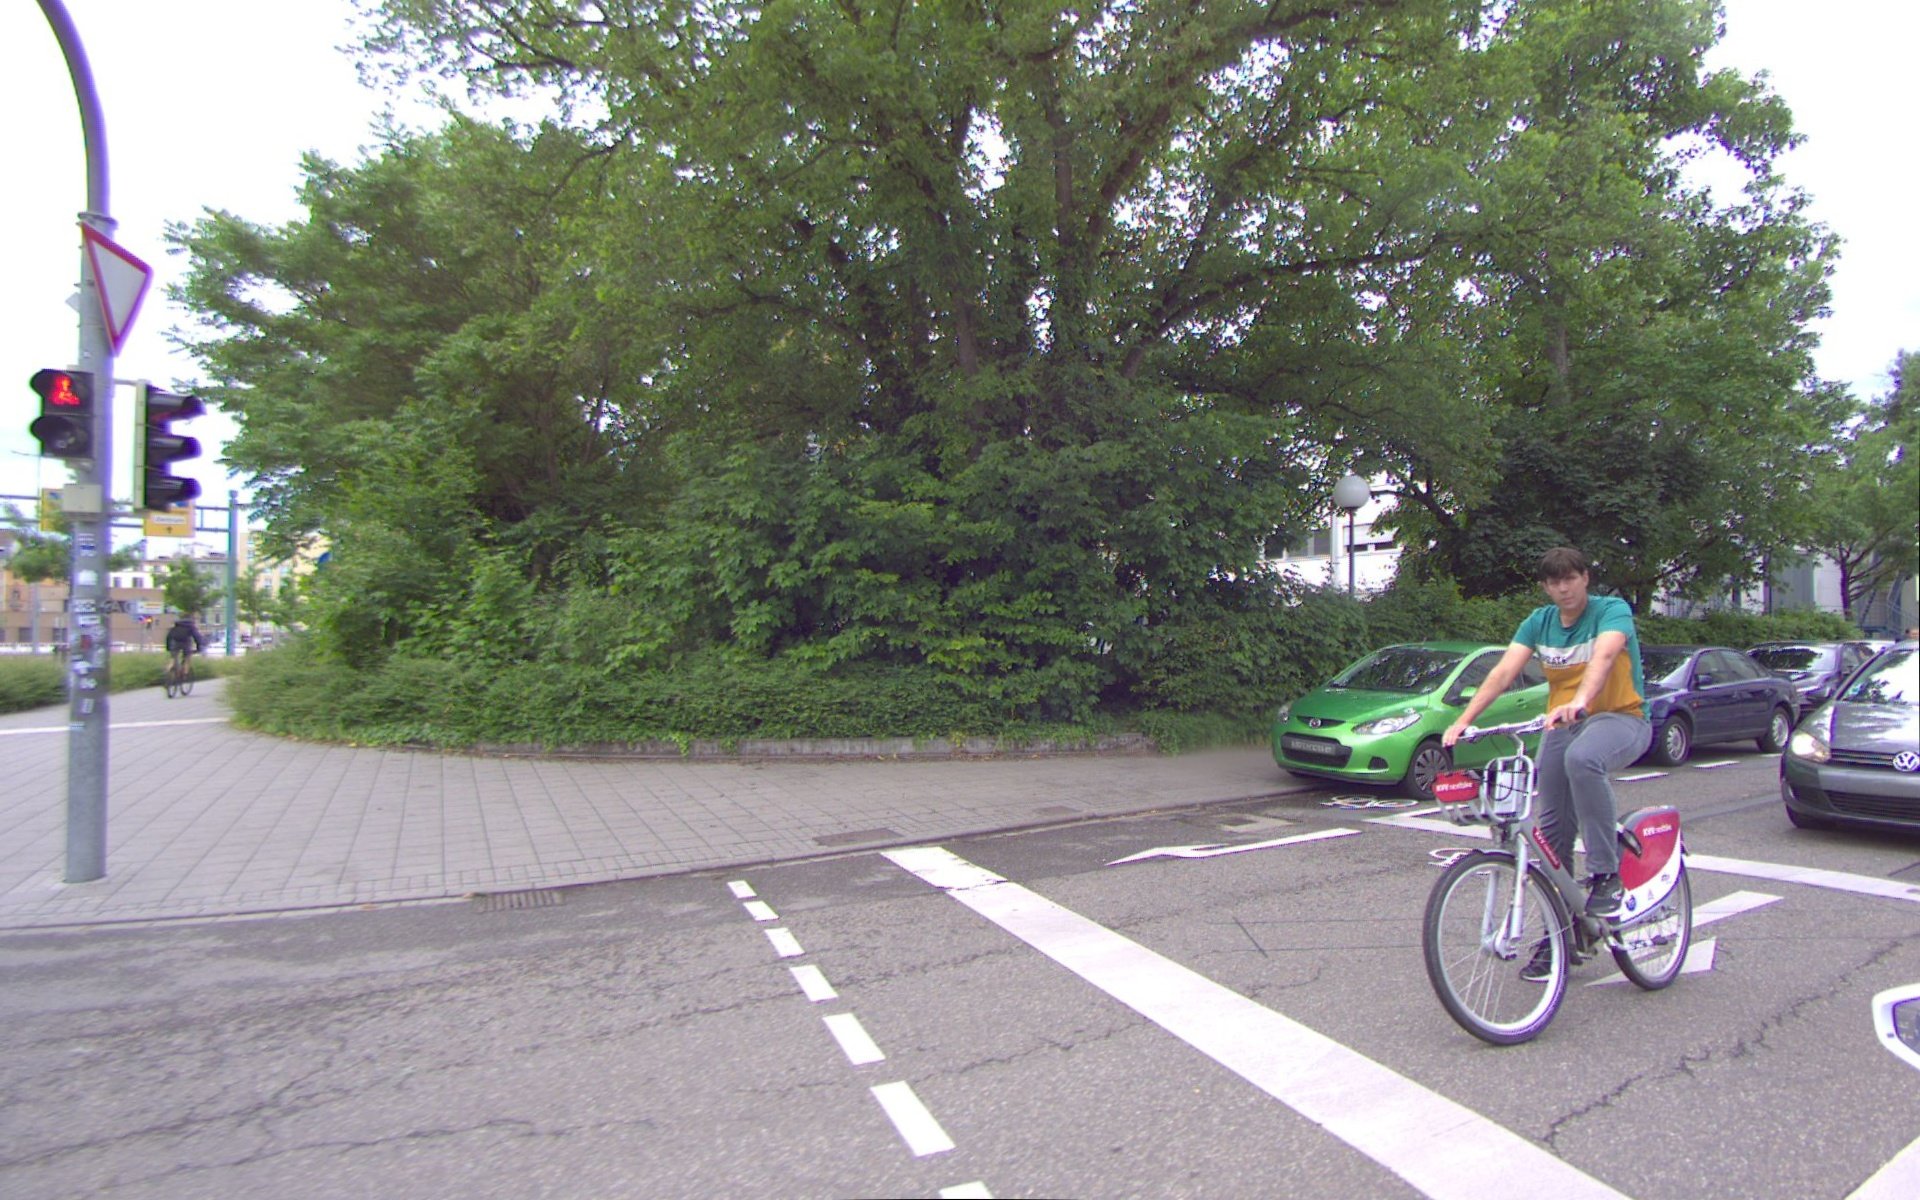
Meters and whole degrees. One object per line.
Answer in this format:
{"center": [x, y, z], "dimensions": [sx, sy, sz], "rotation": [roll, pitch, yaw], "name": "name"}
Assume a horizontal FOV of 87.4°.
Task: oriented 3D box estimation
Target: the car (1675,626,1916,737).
{"center": [13.907, 1.255, 16.655], "dimensions": [4.481, 1.581, 1.788], "rotation": [1, -2, -33], "name": "car"}

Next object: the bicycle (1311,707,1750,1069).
{"center": [2.278, 0.994, 3.949], "dimensions": [1.835, 1.051, 0.654], "rotation": [1, -3, -30], "name": "bicycle"}

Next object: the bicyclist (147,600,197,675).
{"center": [-17.682, 0.835, 22.564], "dimensions": [0.758, 1.629, 0.915], "rotation": [1, -1, -31], "name": "bicyclist"}

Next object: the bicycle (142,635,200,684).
{"center": [-17.709, 1.312, 22.580], "dimensions": [0.774, 1.051, 1.849], "rotation": [1, -2, -31], "name": "bicycle"}

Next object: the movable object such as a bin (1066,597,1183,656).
{"center": [6.521, 1.117, 40.253], "dimensions": [1.980, 2.200, 4.626], "rotation": [1, -3, -35], "name": "movable object such as a bin"}

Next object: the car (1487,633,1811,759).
{"center": [9.110, 1.168, 13.233], "dimensions": [4.283, 1.426, 1.790], "rotation": [1, -3, -29], "name": "car"}

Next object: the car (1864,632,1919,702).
{"center": [21.627, 1.422, 22.033], "dimensions": [3.967, 1.430, 1.753], "rotation": [1, -2, -34], "name": "car"}

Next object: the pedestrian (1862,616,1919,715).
{"center": [16.519, 1.128, 17.620], "dimensions": [0.956, 1.683, 0.735], "rotation": [0, -2, -30], "name": "pedestrian"}

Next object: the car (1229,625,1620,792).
{"center": [5.073, 1.052, 10.855], "dimensions": [4.199, 1.489, 1.789], "rotation": [1, -3, -31], "name": "car"}

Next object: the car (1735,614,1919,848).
{"center": [7.903, 0.902, 7.734], "dimensions": [4.123, 1.517, 1.773], "rotation": [2, -3, -33], "name": "car"}

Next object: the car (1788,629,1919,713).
{"center": [18.105, 1.349, 19.748], "dimensions": [3.783, 1.490, 1.752], "rotation": [2, -3, -33], "name": "car"}

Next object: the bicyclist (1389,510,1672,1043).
{"center": [2.270, 0.618, 3.988], "dimensions": [0.976, 1.803, 0.652], "rotation": [2, -3, -40], "name": "bicyclist"}
